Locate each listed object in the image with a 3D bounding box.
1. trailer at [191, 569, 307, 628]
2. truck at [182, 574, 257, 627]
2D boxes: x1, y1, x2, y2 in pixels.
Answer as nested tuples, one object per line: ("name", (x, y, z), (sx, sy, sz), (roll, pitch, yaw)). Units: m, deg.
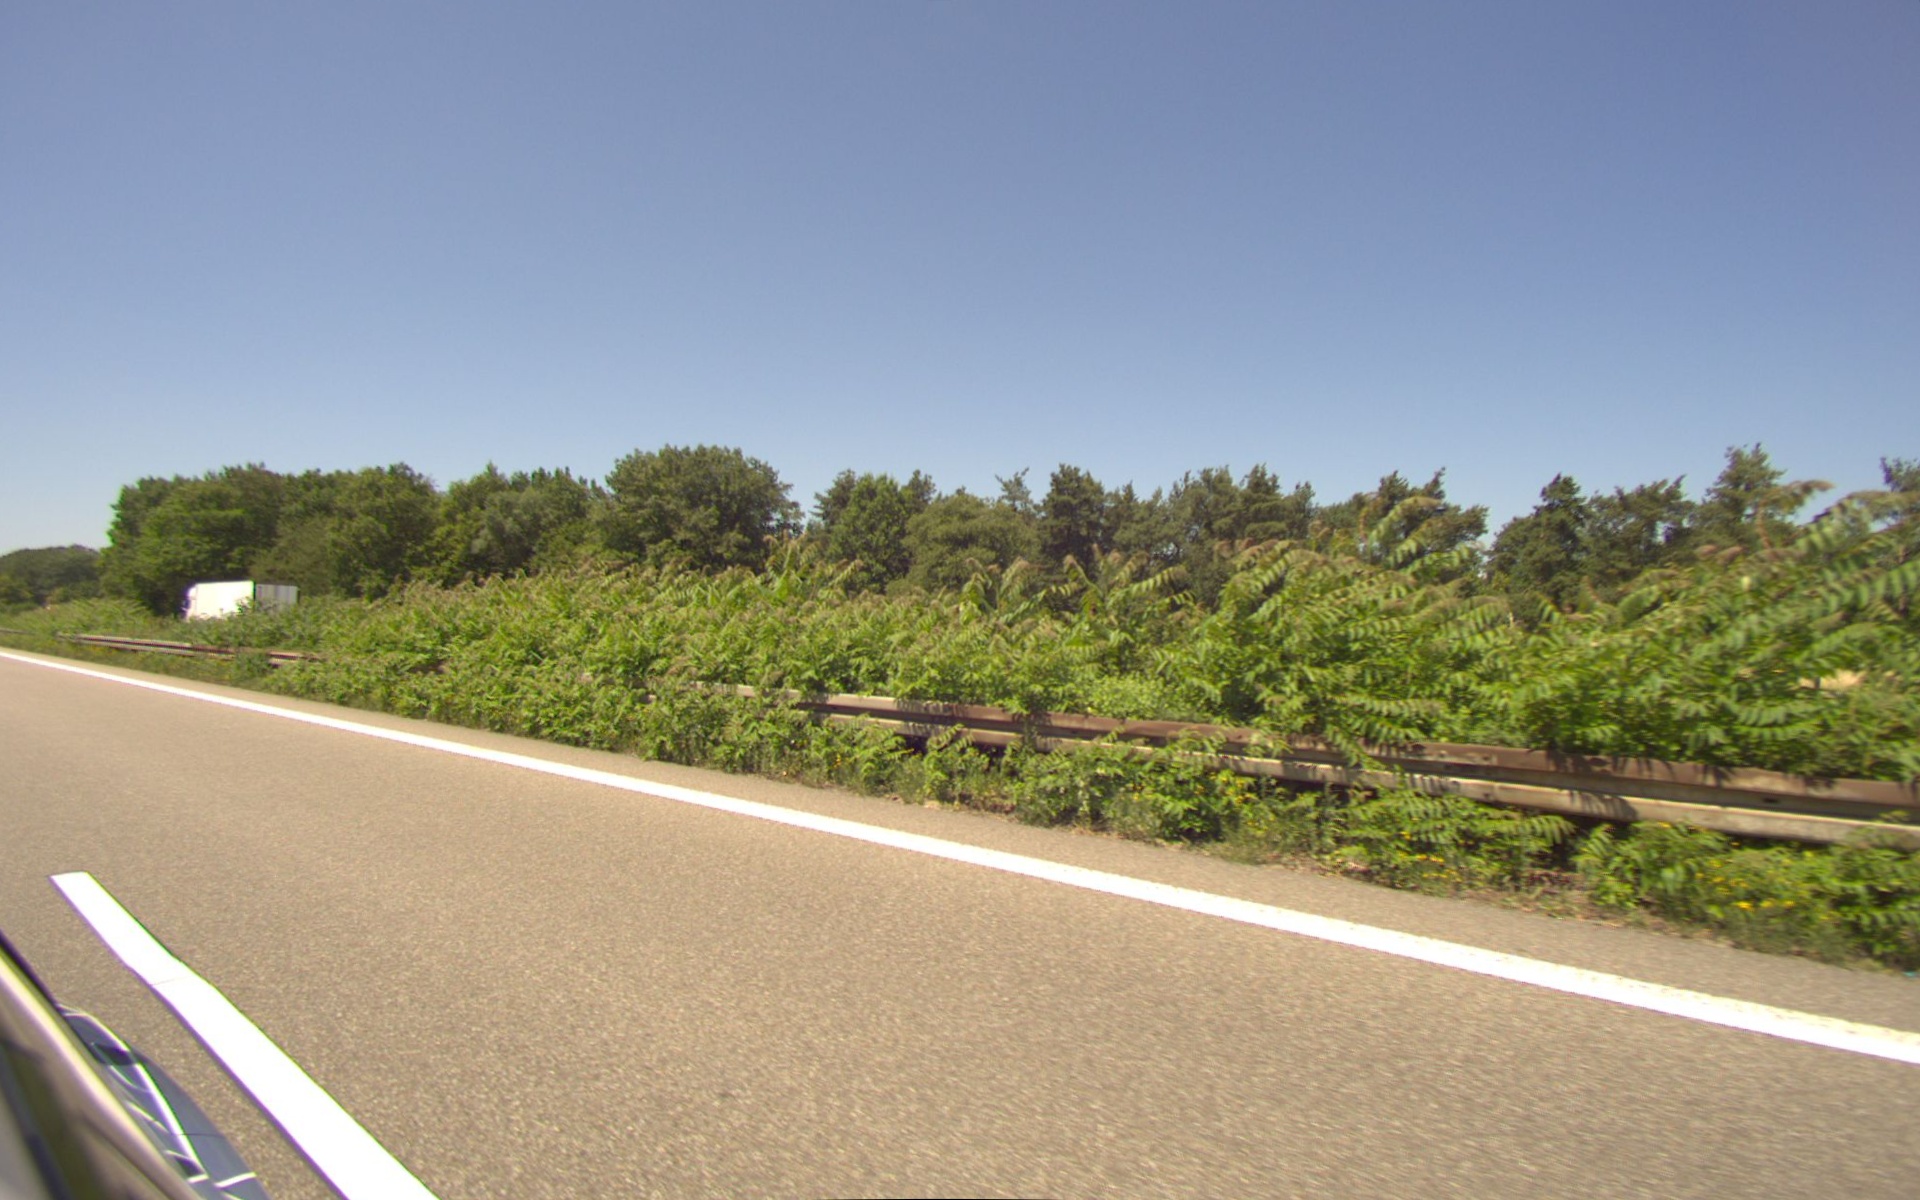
("trailer", (-48.824, -0.030, 69.215), (14.375, 3.726, 3.147), (-1, 0, 41))
("truck", (-53.936, 0.048, 73.680), (6.033, 3.726, 3.147), (-1, 0, 41))
